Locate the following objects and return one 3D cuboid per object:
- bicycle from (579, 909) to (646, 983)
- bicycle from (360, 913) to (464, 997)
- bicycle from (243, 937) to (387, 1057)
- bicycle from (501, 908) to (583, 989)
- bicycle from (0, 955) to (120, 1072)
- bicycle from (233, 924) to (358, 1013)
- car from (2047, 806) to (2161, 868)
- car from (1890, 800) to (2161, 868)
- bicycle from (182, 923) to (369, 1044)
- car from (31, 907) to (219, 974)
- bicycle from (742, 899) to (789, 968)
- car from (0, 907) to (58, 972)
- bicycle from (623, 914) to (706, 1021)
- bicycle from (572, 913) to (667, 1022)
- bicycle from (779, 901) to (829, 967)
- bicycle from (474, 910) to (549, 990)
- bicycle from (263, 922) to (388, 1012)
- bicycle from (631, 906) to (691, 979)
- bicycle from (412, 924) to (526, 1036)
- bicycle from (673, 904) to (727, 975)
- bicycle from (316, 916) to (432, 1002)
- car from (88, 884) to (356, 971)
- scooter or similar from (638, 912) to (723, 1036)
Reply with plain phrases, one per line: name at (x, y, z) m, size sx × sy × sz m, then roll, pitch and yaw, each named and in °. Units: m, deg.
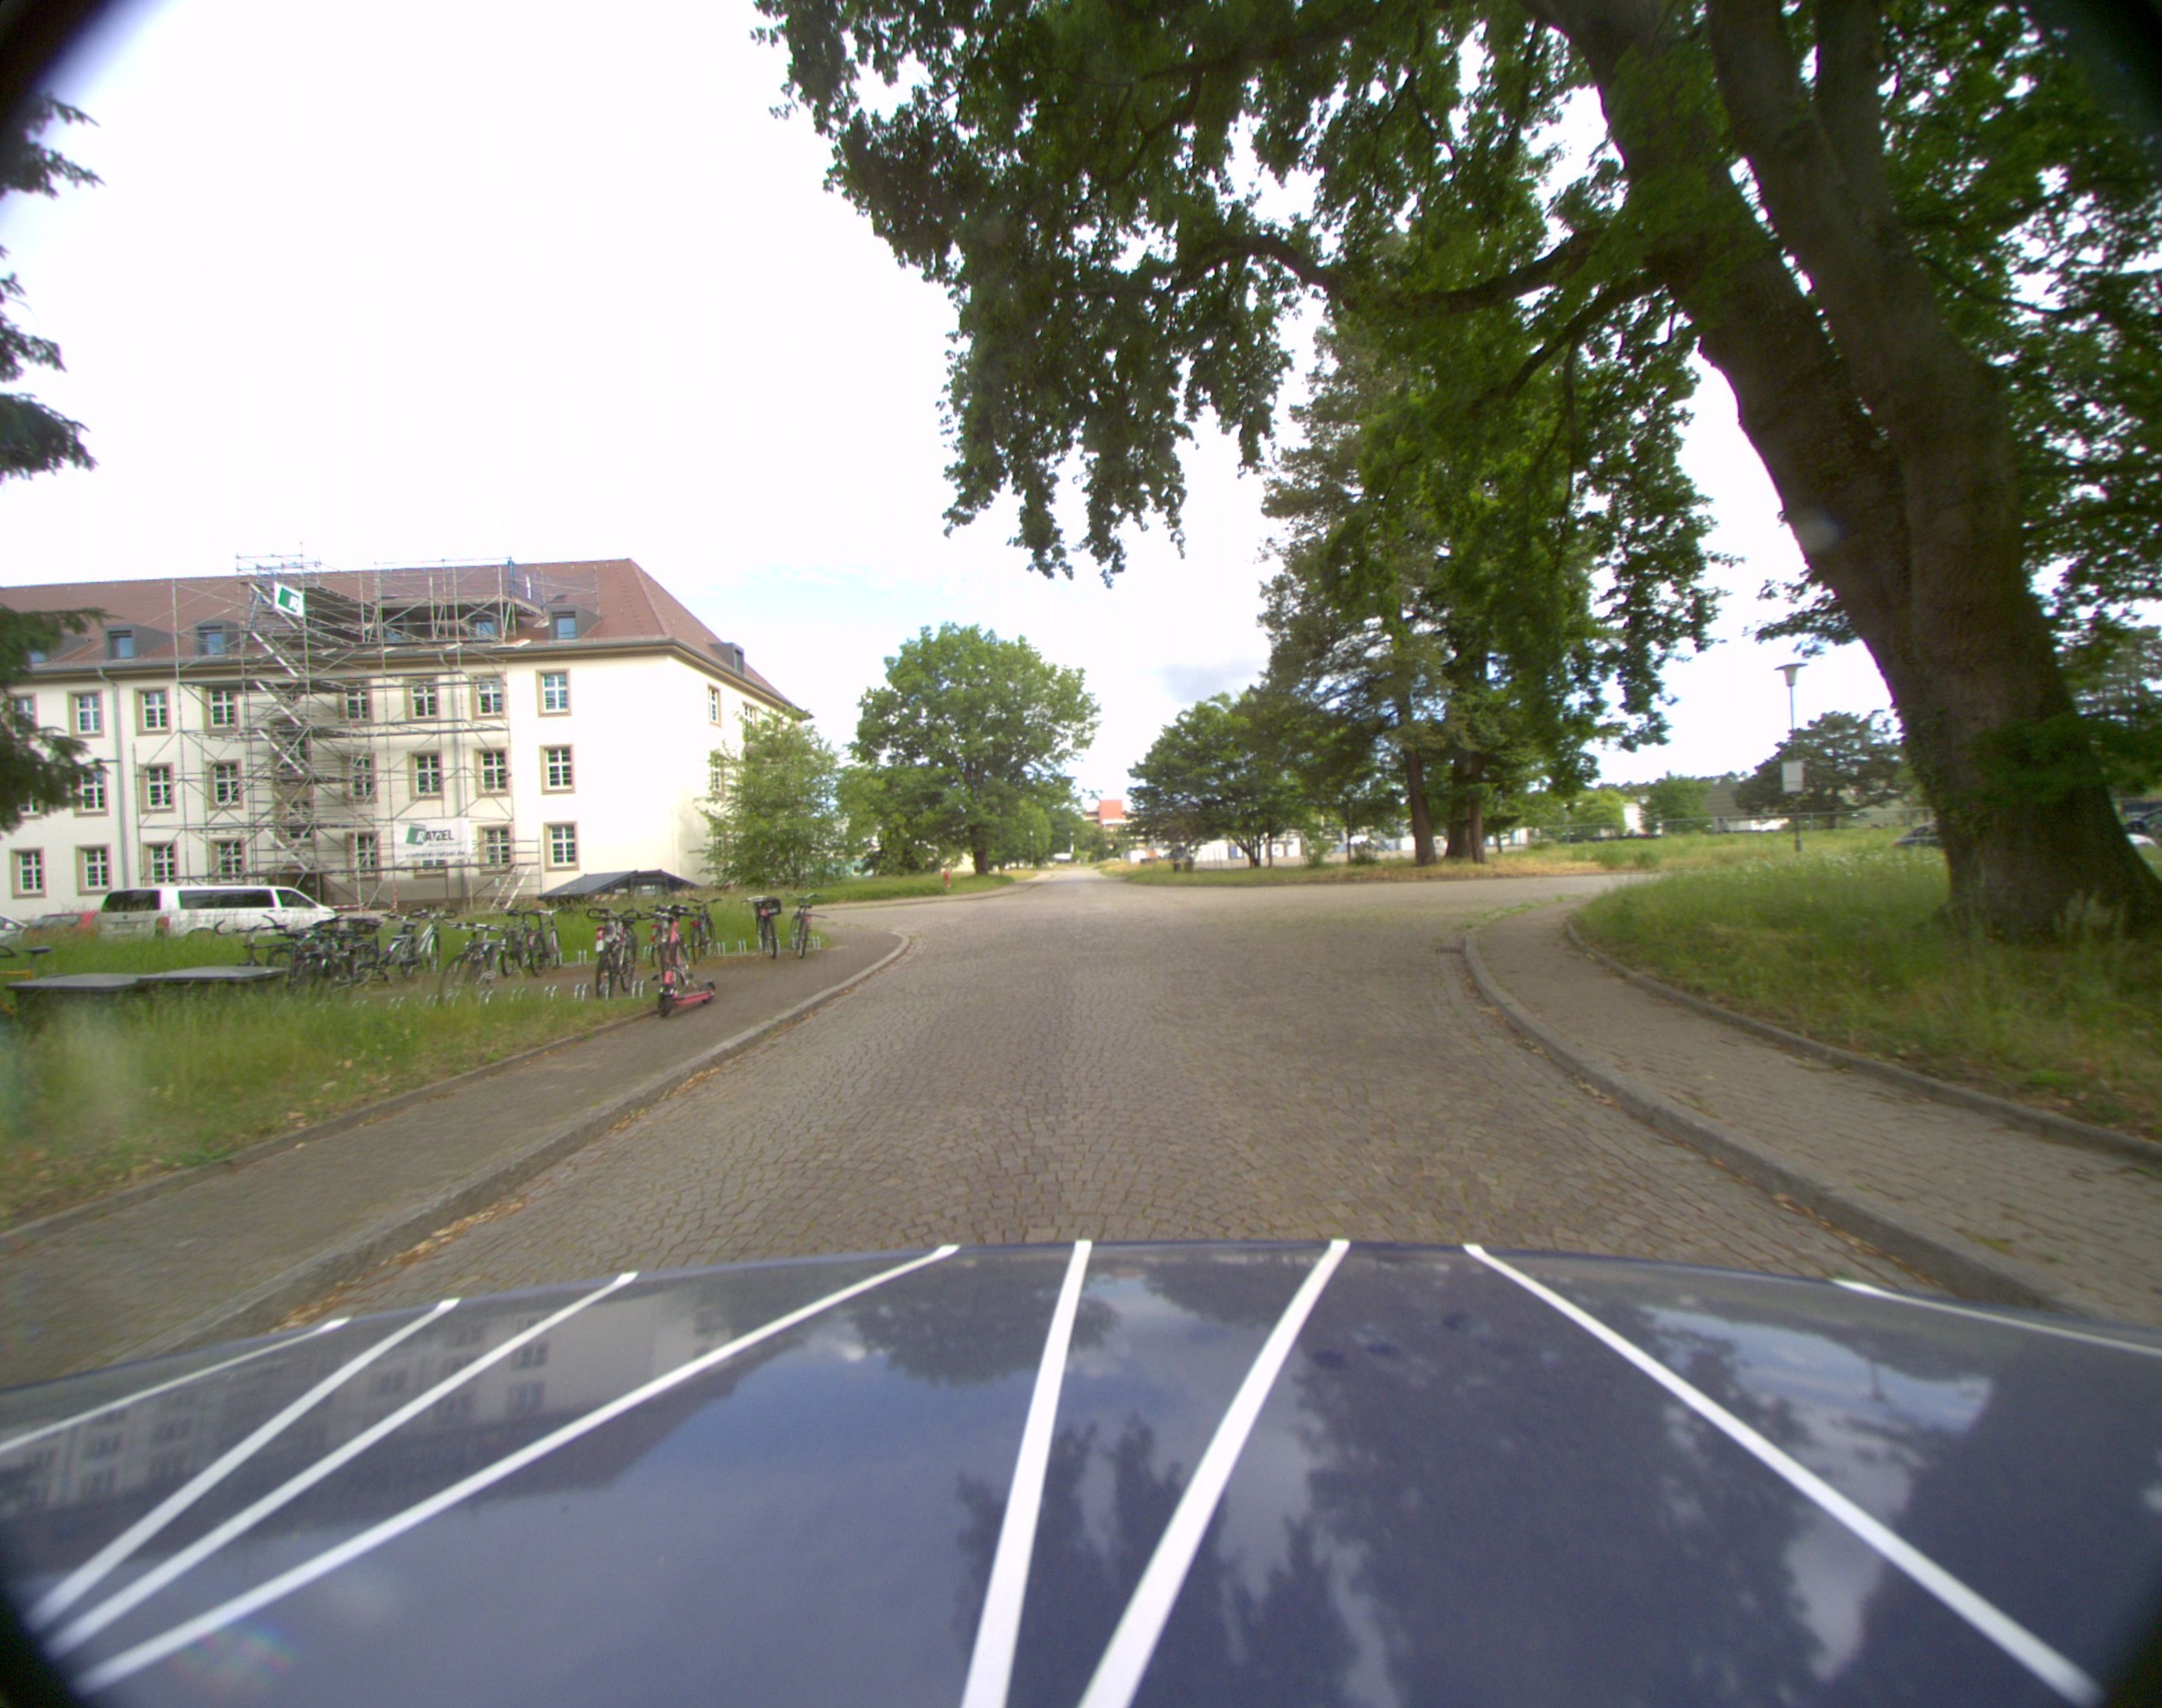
bicycle at (-7.969, 1.532, 12.990) m, size 0.478 × 1.002 × 1.665 m, roll -4°, pitch 2°, yaw -16°
bicycle at (-10.603, 1.558, 12.120) m, size 0.478 × 1.105 × 1.763 m, roll -4°, pitch 0°, yaw -16°
bicycle at (-8.743, 1.576, 8.759) m, size 0.552 × 1.059 × 1.751 m, roll -4°, pitch 1°, yaw -26°
bicycle at (-8.828, 1.502, 12.512) m, size 0.478 × 1.105 × 1.763 m, roll -4°, pitch 0°, yaw -16°
bicycle at (-11.273, 1.701, 7.946) m, size 0.552 × 1.036 × 1.681 m, roll -4°, pitch 0°, yaw -14°
bicycle at (-12.083, 1.715, 11.762) m, size 0.478 × 1.105 × 1.763 m, roll -4°, pitch 0°, yaw -16°
car at (28.021, -0.480, 19.115) m, size 1.763 × 1.552 × 4.366 m, roll -3°, pitch -1°, yaw -1°
car at (23.215, -0.424, 18.820) m, size 1.762 × 1.396 × 4.356 m, roll -3°, pitch -1°, yaw 3°
bicycle at (-9.835, 1.525, 9.381) m, size 0.551 × 1.164 × 1.753 m, roll -4°, pitch 0°, yaw -8°
car at (-27.826, 2.462, 22.285) m, size 1.310 × 1.518 × 3.249 m, roll -3°, pitch 0°, yaw 0°
bicycle at (-5.717, 1.400, 13.715) m, size 0.478 × 1.068 × 1.619 m, roll -5°, pitch 2°, yaw -31°
car at (-32.772, 2.632, 22.062) m, size 1.603 × 1.833 × 3.249 m, roll -3°, pitch 0°, yaw 0°
bicycle at (-5.348, 1.405, 9.855) m, size 0.552 × 1.108 × 1.767 m, roll -4°, pitch 0°, yaw -18°
bicycle at (-5.802, 1.374, 9.647) m, size 0.552 × 1.108 × 1.802 m, roll -4°, pitch 0°, yaw -18°
bicycle at (-5.007, 1.401, 13.693) m, size 0.478 × 1.002 × 1.619 m, roll -5°, pitch 2°, yaw -31°
bicycle at (-9.361, 1.538, 12.552) m, size 0.478 × 1.105 × 1.762 m, roll -4°, pitch 1°, yaw -22°
bicycle at (-11.484, 1.680, 11.618) m, size 0.442 × 1.105 × 1.650 m, roll -4°, pitch 0°, yaw -10°
bicycle at (-7.198, 1.480, 13.077) m, size 0.478 × 1.002 × 1.665 m, roll -4°, pitch 2°, yaw -16°
bicycle at (-7.395, 1.466, 9.276) m, size 0.619 × 1.059 × 1.822 m, roll -4°, pitch 1°, yaw -26°
bicycle at (-6.587, 1.440, 13.189) m, size 0.478 × 1.002 × 1.665 m, roll -4°, pitch 2°, yaw -16°
bicycle at (-10.997, 1.597, 11.886) m, size 0.442 × 1.105 × 1.650 m, roll -4°, pitch 0°, yaw -10°
car at (-25.396, 2.059, 22.872) m, size 1.967 × 1.985 × 5.276 m, roll -3°, pitch 0°, yaw 0°
scooter or similar at (-4.511, 1.314, 8.625) m, size 0.357 × 1.203 × 1.137 m, roll -4°, pitch 1°, yaw -4°
